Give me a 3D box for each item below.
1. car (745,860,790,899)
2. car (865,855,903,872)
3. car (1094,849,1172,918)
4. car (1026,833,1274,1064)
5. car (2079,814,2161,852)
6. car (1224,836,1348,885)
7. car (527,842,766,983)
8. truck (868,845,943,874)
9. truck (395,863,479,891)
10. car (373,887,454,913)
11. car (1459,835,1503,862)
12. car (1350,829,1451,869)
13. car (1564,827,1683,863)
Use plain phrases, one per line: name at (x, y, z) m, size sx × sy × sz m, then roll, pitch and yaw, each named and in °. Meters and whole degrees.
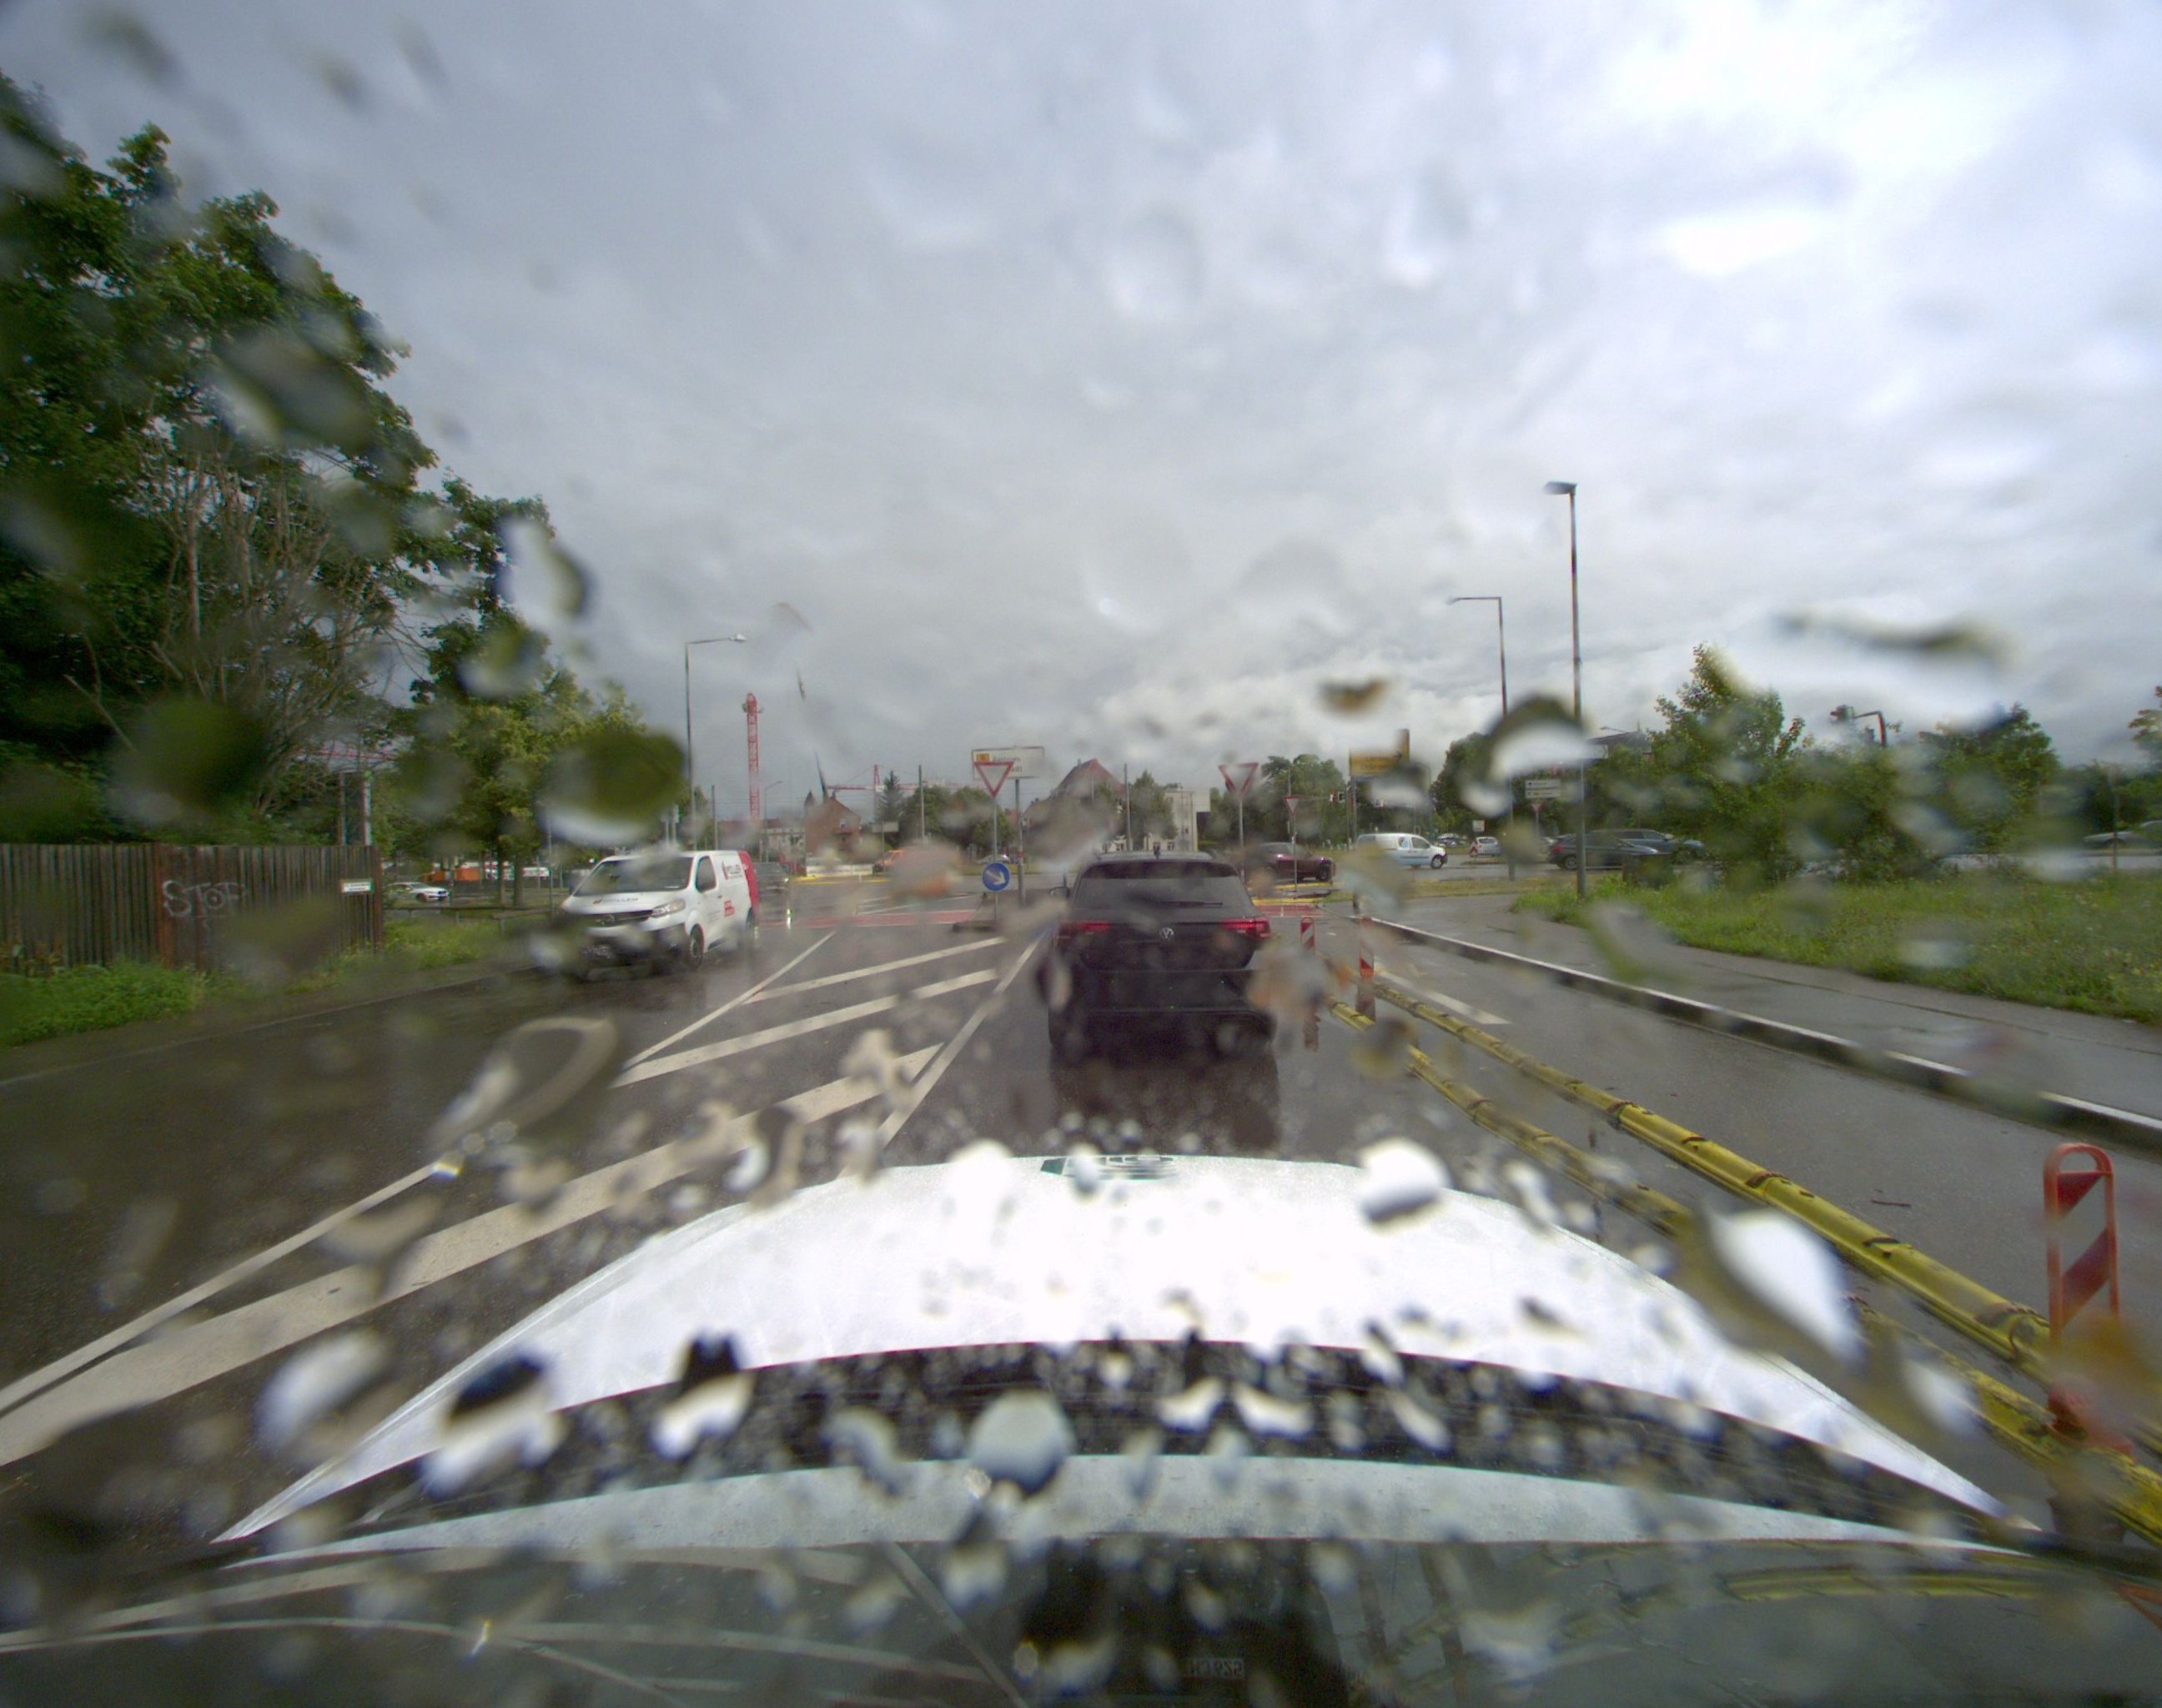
car at (-14.796, 1.155, 38.574) m, size 1.739 × 1.664 × 4.084 m, roll -1°, pitch 0°, yaw -18°
car at (-20.414, 0.992, 84.493) m, size 3.523 × 1.584 × 1.549 m, roll -2°, pitch 0°, yaw -38°
car at (1.306, 0.657, 20.232) m, size 1.727 × 1.514 × 3.608 m, roll -2°, pitch 0°, yaw 4°
car at (0.466, 0.660, 7.519) m, size 1.703 × 1.574 × 3.681 m, roll -1°, pitch 0°, yaw -1°
car at (46.817, -0.968, 35.460) m, size 1.925 × 1.560 × 4.063 m, roll -2°, pitch 0°, yaw -44°
car at (8.145, 0.244, 32.544) m, size 4.340 × 1.725 × 1.994 m, roll -2°, pitch 0°, yaw -9°
car at (-7.017, 0.810, 13.878) m, size 1.887 × 1.876 × 5.118 m, roll -2°, pitch 0°, yaw -8°
truck at (-17.380, 0.555, 80.959) m, size 7.130 × 2.650 × 2.301 m, roll -2°, pitch 0°, yaw -44°
truck at (-64.586, 2.316, 81.701) m, size 6.669 × 2.442 × 2.438 m, roll -2°, pitch 0°, yaw 5°
car at (-47.708, 3.278, 58.248) m, size 4.384 × 1.628 × 1.630 m, roll -2°, pitch 0°, yaw -2°
car at (28.914, -0.386, 58.974) m, size 1.979 × 1.830 × 4.015 m, roll -2°, pitch 0°, yaw 14°
car at (15.825, -0.245, 40.386) m, size 4.398 × 1.809 × 1.860 m, roll -2°, pitch 0°, yaw -16°
car at (25.215, -0.400, 38.047) m, size 4.350 × 1.548 × 1.881 m, roll -2°, pitch 0°, yaw 24°
